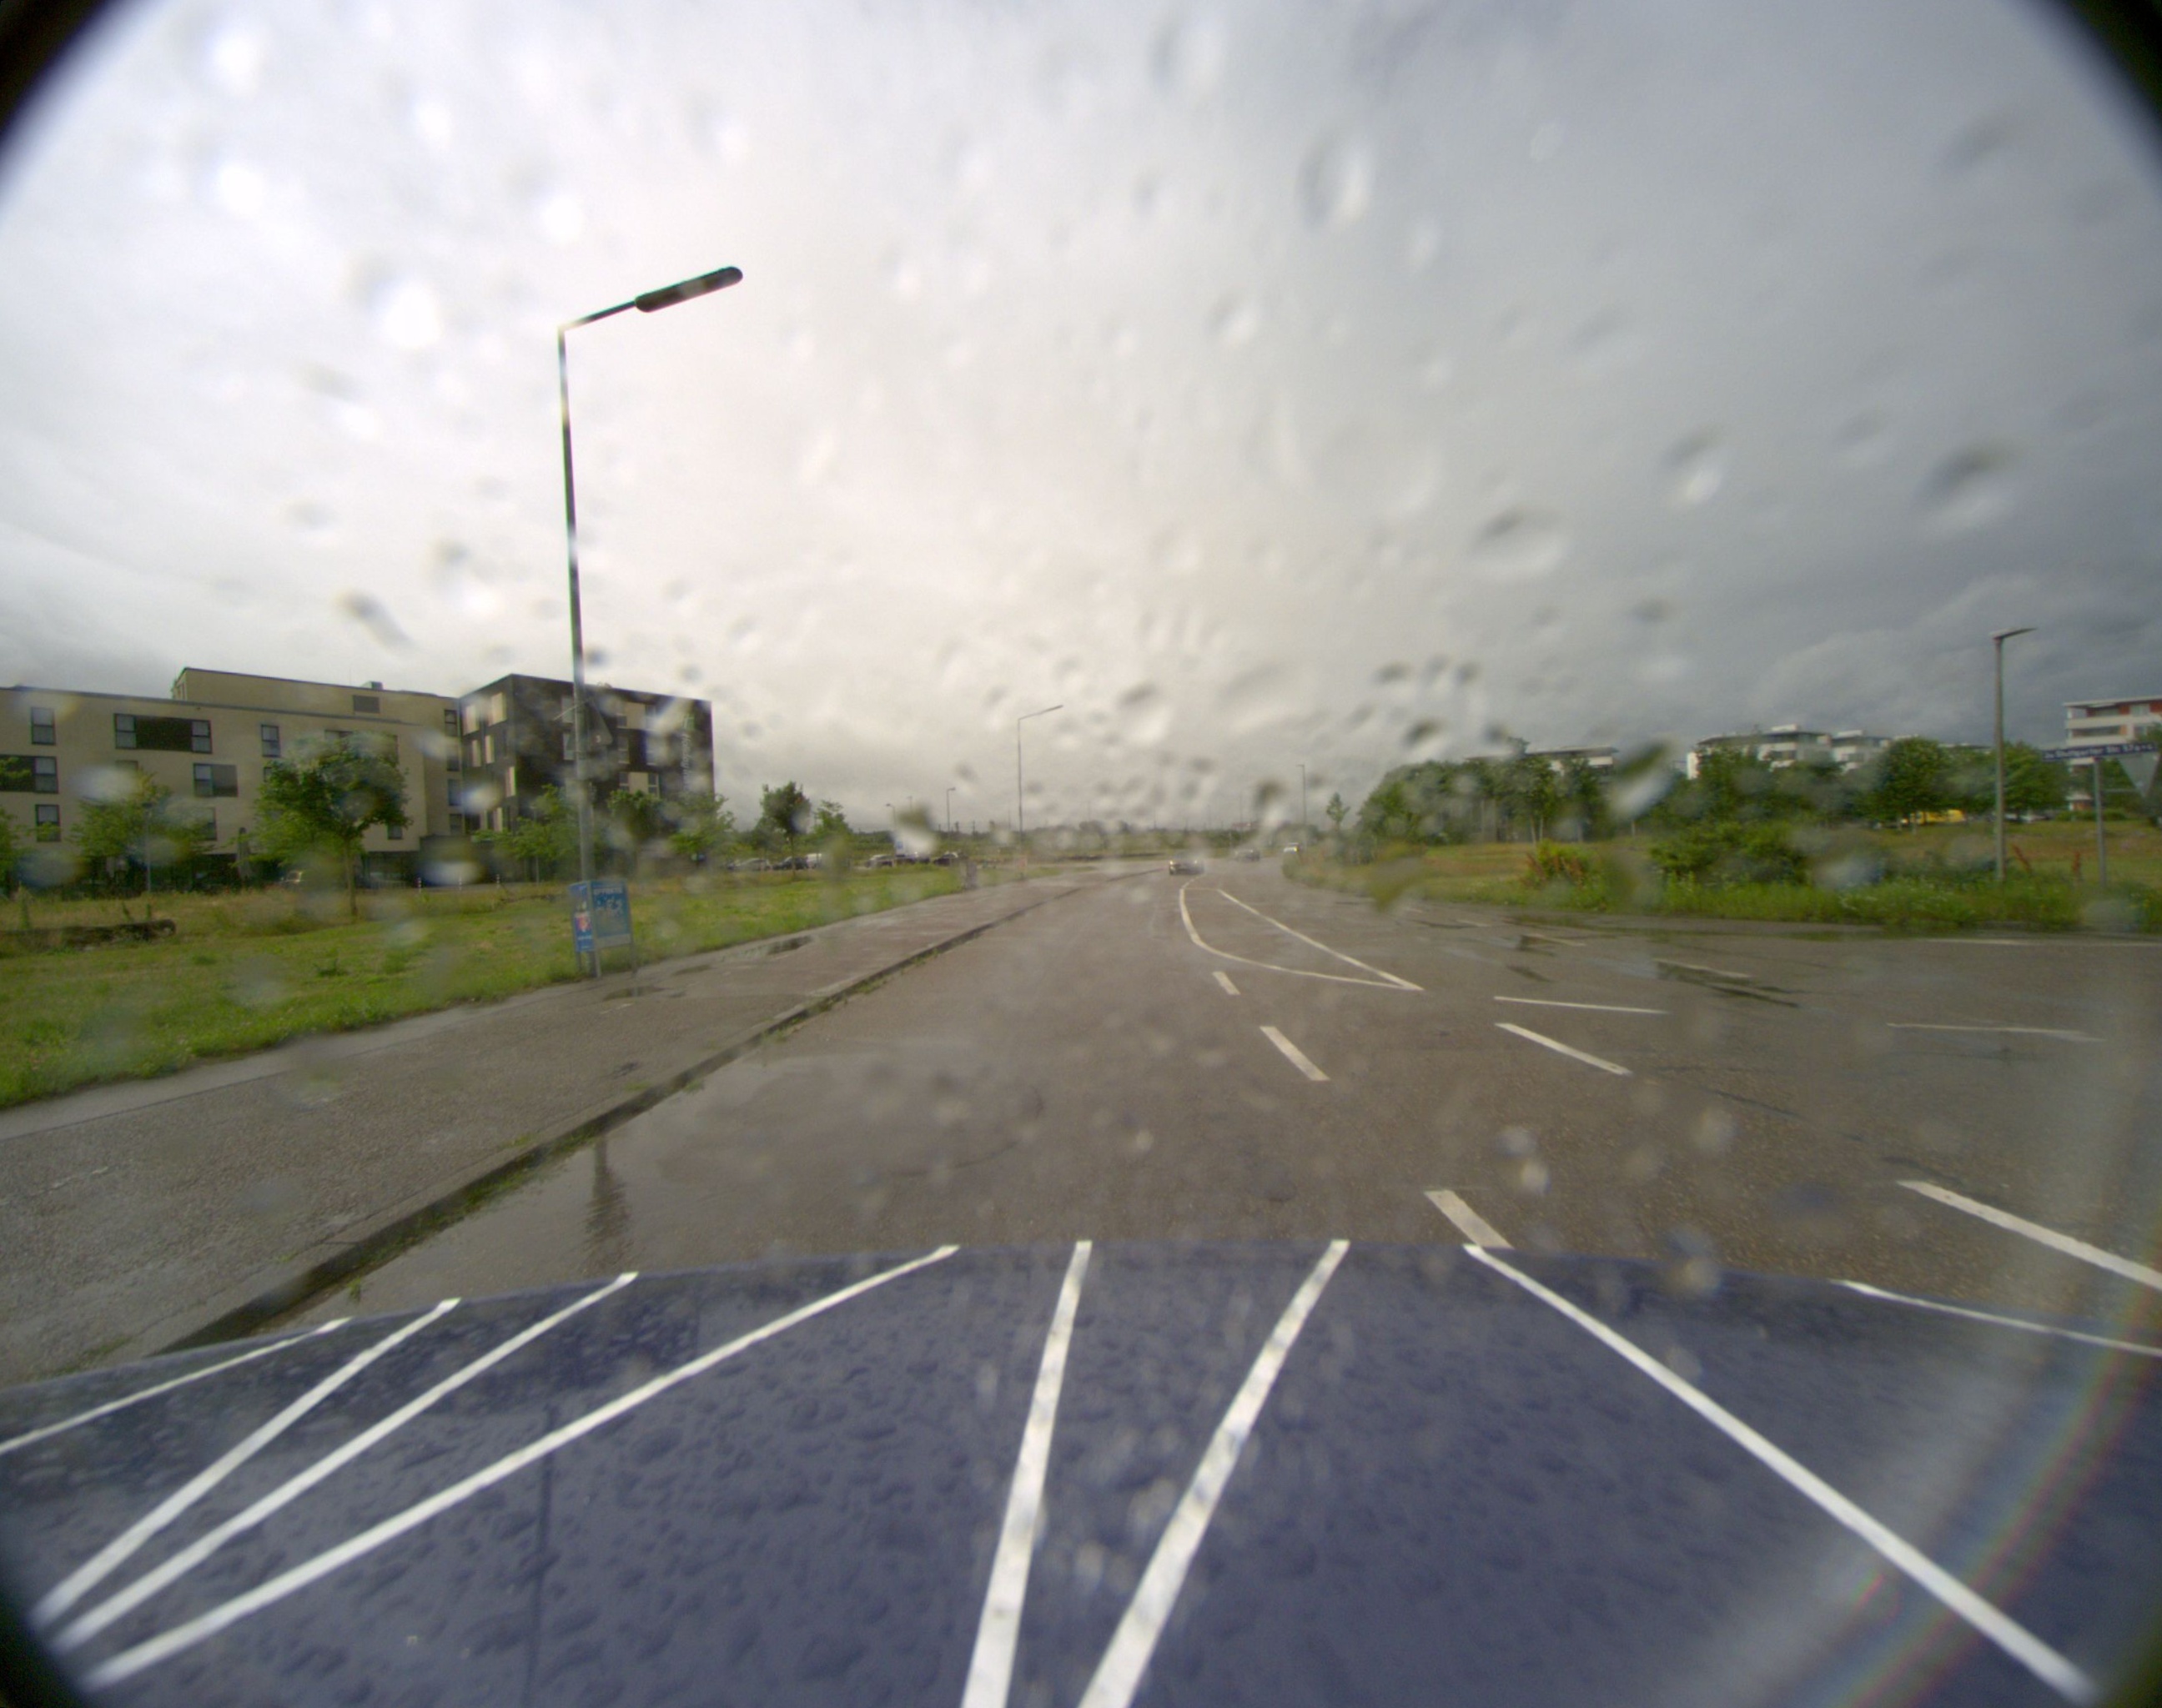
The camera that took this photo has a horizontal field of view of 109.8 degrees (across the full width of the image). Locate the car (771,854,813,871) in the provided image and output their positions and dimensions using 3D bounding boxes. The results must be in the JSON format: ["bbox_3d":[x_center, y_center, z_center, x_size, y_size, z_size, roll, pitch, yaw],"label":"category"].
[{"bbox_3d":[-30.888,0.921,81.269,1.781,1.518,3.849,-5,-1,35],"label":"car"}]

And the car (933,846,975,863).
[{"bbox_3d":[-13.699,0.052,81.789,3.989,1.609,2.003,-1,4,32],"label":"car"}]

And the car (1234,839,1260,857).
[{"bbox_3d":[16.701,-0.636,76.484,2.007,1.695,4.334,-2,1,19],"label":"car"}]

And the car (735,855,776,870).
[{"bbox_3d":[-36.704,0.971,85.678,1.764,1.387,3.815,-5,-1,35],"label":"car"}]

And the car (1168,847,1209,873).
[{"bbox_3d":[6.794,0.363,47.669,1.871,1.510,4.362,0,1,16],"label":"car"}]

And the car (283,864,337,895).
[{"bbox_3d":[-42.712,1.361,42.078,4.206,1.549,1.670,0,2,39],"label":"car"}]

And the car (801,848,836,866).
[{"bbox_3d":[-32.895,0.425,95.160,4.328,1.761,2.004,-8,-3,37],"label":"car"}]

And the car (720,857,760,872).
[{"bbox_3d":[-38.927,1.193,86.871,1.639,1.388,3.788,-4,1,36],"label":"car"}]

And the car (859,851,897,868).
[{"bbox_3d":[-23.620,0.689,88.257,3.990,1.631,2.004,-5,-1,32],"label":"car"}]

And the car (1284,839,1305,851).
[{"bbox_3d":[27.923,-1.201,99.200,1.838,1.510,4.364,-2,1,27],"label":"car"}]

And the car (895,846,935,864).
[{"bbox_3d":[-18.611,0.128,85.309,3.990,1.717,2.004,-5,-1,32],"label":"car"}]

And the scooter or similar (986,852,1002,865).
[{"bbox_3d":[-7.564,0.392,66.110,1.282,1.180,0.503,0,0,6],"label":"scooter or similar"}]

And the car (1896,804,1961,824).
[{"bbox_3d":[137.022,-6.500,122.943,6.625,2.599,1.970,-4,1,29],"label":"car"}]
